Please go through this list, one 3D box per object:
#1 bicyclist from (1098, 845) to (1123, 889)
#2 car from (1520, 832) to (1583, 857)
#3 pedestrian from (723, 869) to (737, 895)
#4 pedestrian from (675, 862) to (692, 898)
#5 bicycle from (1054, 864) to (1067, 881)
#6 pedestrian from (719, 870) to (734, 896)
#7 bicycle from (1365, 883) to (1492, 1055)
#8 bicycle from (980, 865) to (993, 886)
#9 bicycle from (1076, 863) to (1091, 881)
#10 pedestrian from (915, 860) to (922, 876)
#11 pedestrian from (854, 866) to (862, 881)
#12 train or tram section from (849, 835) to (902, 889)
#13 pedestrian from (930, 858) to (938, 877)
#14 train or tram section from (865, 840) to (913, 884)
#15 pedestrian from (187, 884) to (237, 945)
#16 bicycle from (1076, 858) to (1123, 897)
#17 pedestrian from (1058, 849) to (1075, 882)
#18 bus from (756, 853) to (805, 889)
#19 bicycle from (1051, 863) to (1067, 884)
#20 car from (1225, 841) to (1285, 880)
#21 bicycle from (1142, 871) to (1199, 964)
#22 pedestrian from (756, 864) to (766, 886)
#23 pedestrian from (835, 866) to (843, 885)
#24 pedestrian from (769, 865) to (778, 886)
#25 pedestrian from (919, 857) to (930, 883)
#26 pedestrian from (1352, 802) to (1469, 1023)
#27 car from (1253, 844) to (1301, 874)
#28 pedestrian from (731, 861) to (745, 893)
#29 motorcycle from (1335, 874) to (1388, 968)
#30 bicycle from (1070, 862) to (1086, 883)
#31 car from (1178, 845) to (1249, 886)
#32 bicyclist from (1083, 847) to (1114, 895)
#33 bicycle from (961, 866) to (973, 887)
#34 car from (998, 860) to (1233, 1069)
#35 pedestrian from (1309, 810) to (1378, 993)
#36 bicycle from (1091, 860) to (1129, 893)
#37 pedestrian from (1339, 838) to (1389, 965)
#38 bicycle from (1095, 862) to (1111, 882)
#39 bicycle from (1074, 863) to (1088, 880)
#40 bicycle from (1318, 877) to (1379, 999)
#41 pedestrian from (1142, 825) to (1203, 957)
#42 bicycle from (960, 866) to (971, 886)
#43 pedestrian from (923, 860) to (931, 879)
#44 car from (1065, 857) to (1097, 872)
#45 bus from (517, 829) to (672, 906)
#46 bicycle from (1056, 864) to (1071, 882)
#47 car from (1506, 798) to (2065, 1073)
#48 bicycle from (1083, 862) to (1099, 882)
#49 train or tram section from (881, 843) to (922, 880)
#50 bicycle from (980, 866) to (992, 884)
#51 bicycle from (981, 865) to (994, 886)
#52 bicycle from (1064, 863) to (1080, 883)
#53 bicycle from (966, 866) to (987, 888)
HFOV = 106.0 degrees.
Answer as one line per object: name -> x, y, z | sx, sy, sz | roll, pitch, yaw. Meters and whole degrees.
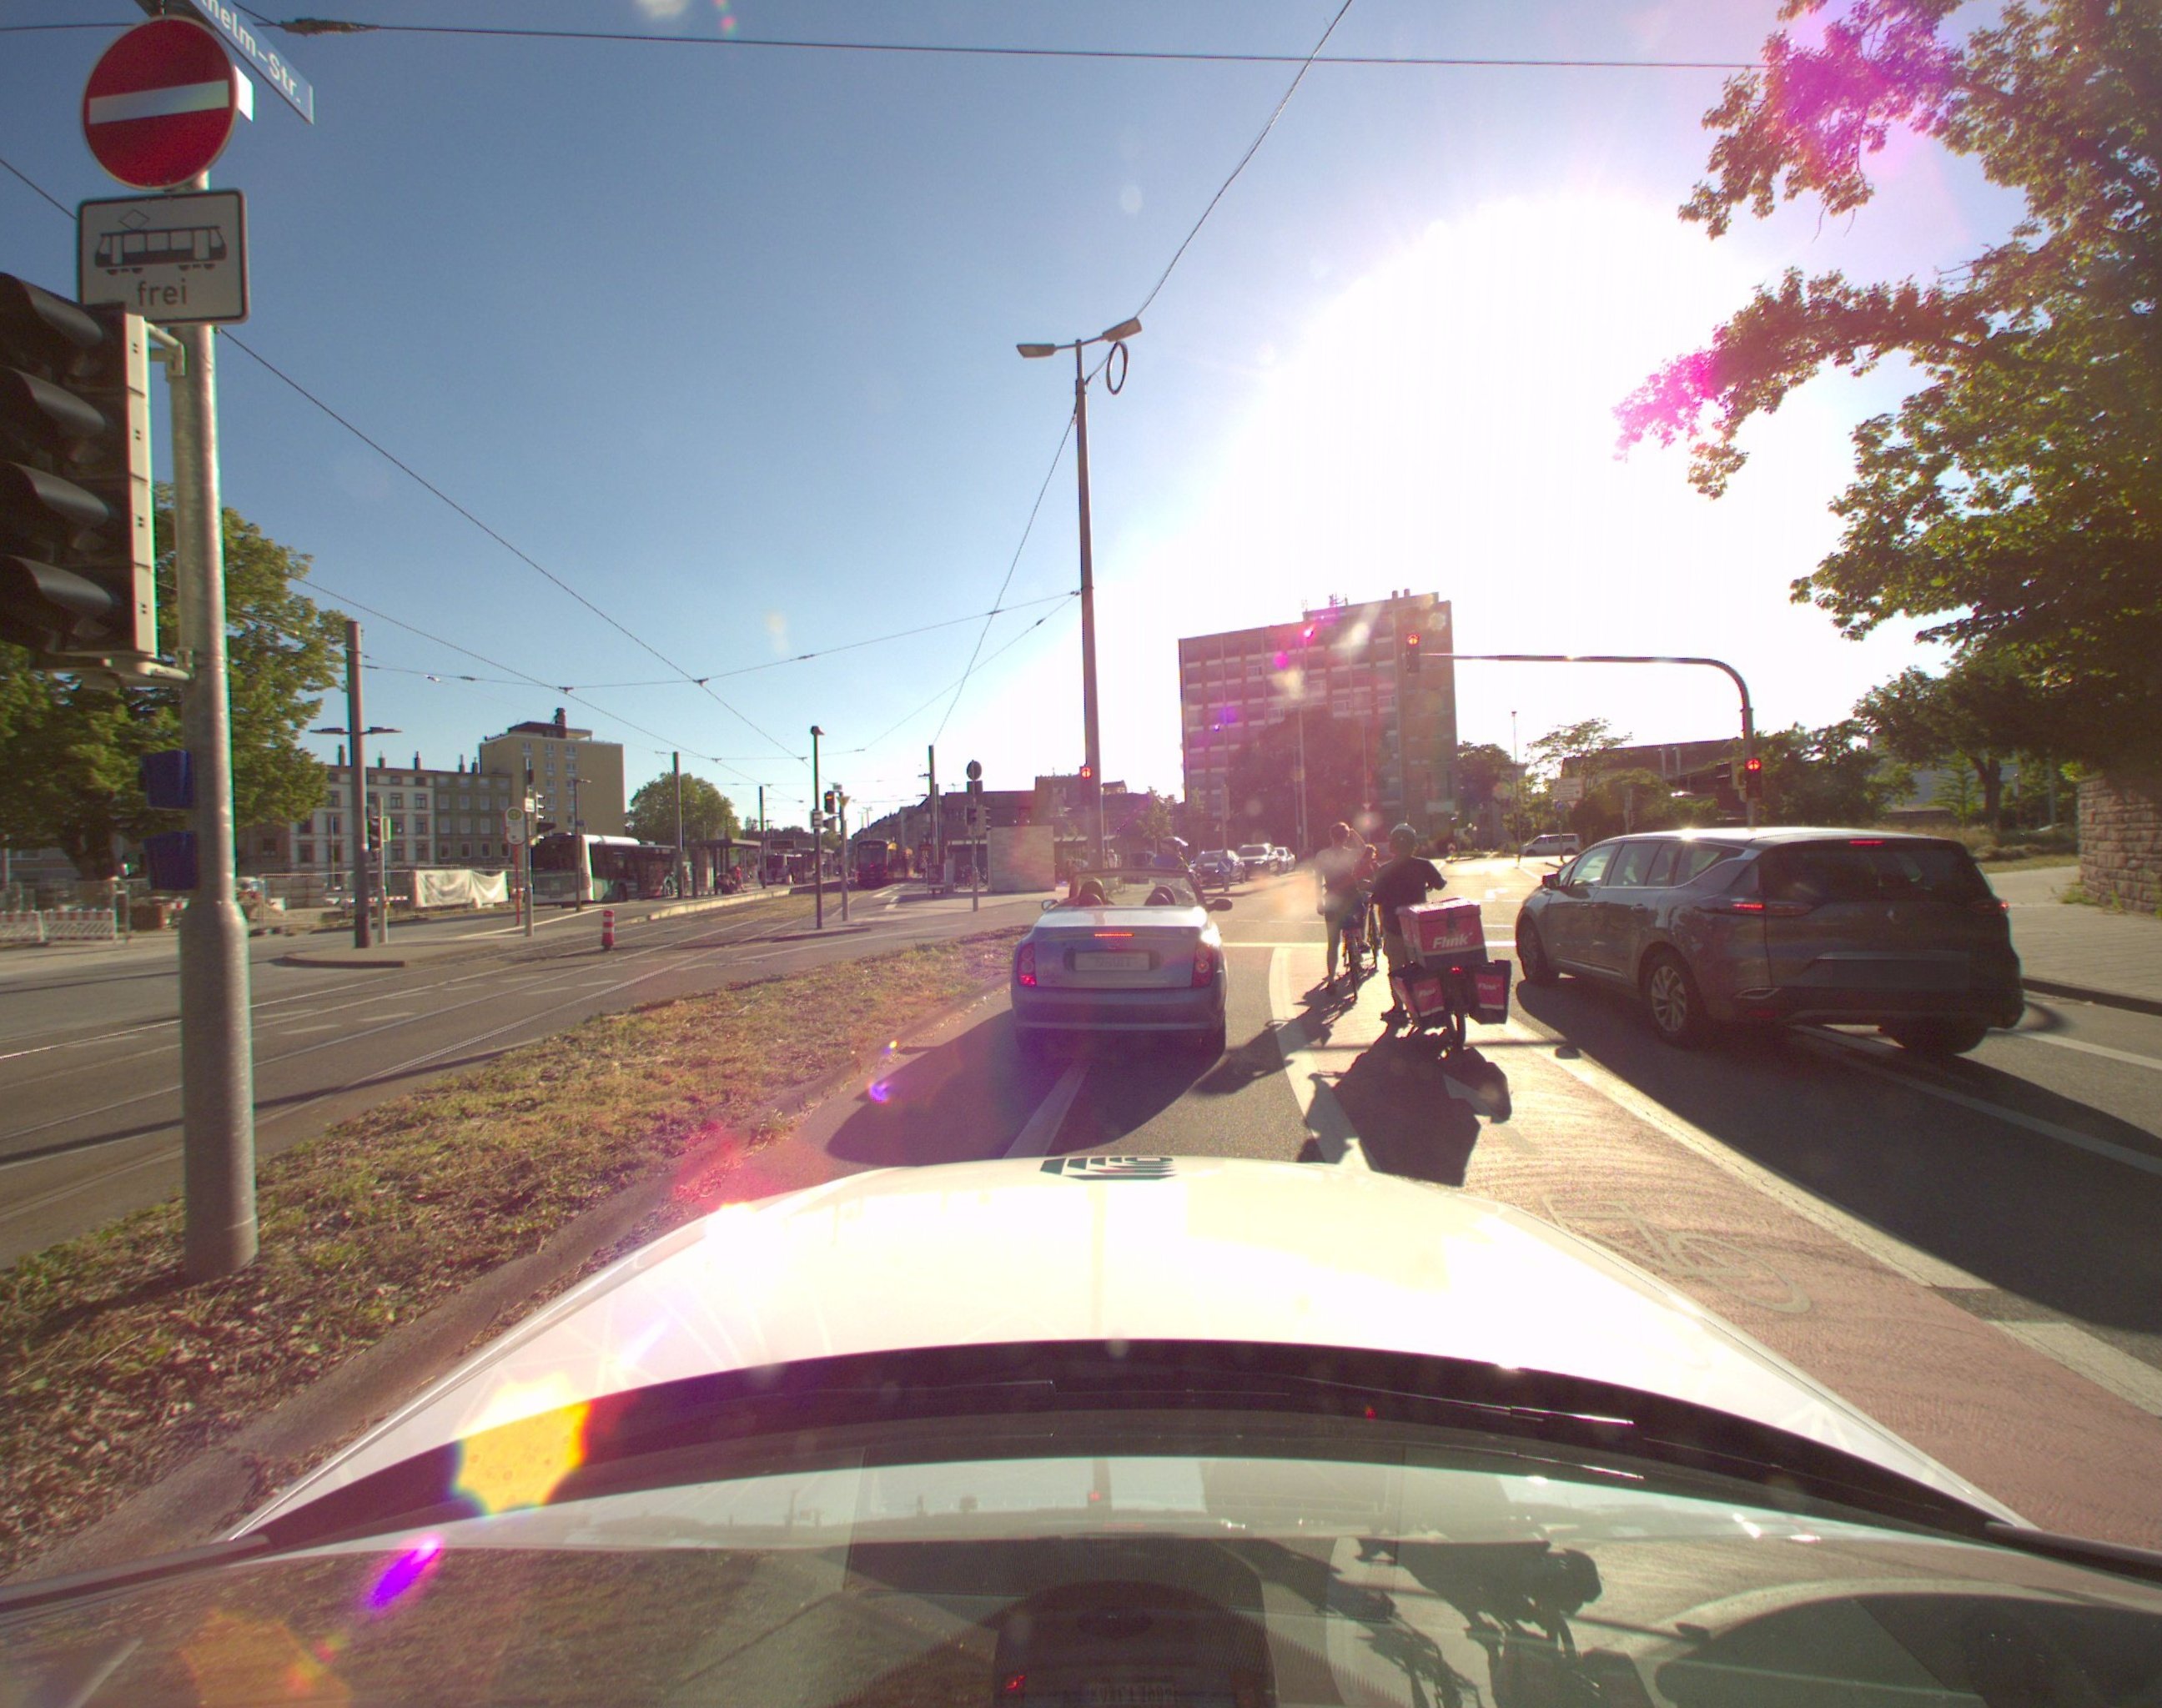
bicyclist -> 1.146, 0.489, 31.603 | 0.702, 1.657, 0.747 | -3, -1, 24
car -> 41.132, -0.838, 71.340 | 4.647, 1.945, 1.926 | -3, 0, 26
pedestrian -> -18.732, 1.474, 43.464 | 0.571, 1.346, 0.636 | -2, -1, -15
pedestrian -> -19.702, 1.273, 40.398 | 0.536, 1.749, 0.559 | -2, -1, -4
bicycle -> -1.347, 1.193, 53.216 | 0.607, 1.115, 1.890 | 0, -1, -10
pedestrian -> -18.603, 1.520, 42.778 | 0.617, 1.340, 0.438 | -2, -1, -15
bicycle -> 2.934, 0.872, 7.096 | 0.550, 1.171, 2.380 | -1, -1, 12
bicycle -> -5.178, 1.193, 44.667 | 0.607, 1.115, 1.890 | 0, -1, -10
bicycle -> 0.130, 1.137, 51.415 | 0.607, 1.115, 1.890 | 0, -1, -10
pedestrian -> -18.073, 1.530, 90.537 | 0.604, 1.749, 0.830 | -2, -1, -6
pedestrian -> -27.474, 2.427, 100.348 | 0.732, 1.749, 0.638 | -2, -1, -6
train or tram section -> -15.261, 0.581, 61.217 | 2.881, 3.597, 12.158 | 0, -1, -10
pedestrian -> -13.870, 1.255, 76.911 | 0.639, 1.749, 0.732 | -2, -1, -17
train or tram section -> -17.066, 0.704, 73.259 | 3.010, 3.597, 12.165 | 0, -1, -8
pedestrian -> -25.707, 1.783, 24.108 | 0.712, 1.697, 0.893 | -3, -2, -25
bicycle -> 0.675, 0.810, 28.971 | 0.668, 1.250, 2.471 | -5, -1, 24
pedestrian -> -0.845, 0.664, 46.950 | 0.901, 1.869, 0.684 | 0, -1, -11
bus -> -29.669, 1.587, 80.949 | 2.723, 3.274, 13.409 | 0, -1, -12
bicycle -> -1.254, 1.081, 45.297 | 0.607, 1.115, 1.890 | 0, -1, -10
car -> 8.546, 0.258, 39.677 | 1.745, 1.706, 4.557 | -4, -1, 26
bicycle -> 1.357, 0.865, 11.989 | 0.604, 1.191, 2.422 | -1, -1, 12
pedestrian -> -25.930, 1.675, 65.948 | 0.641, 1.749, 0.567 | -2, -1, -25
pedestrian -> -23.617, 2.098, 79.590 | 0.641, 1.749, 0.567 | -2, -1, -25
pedestrian -> -25.425, 1.775, 67.299 | 0.571, 1.749, 0.636 | -2, -1, -17
pedestrian -> -10.819, 1.117, 56.215 | 0.639, 1.749, 0.569 | -2, -1, -17
pedestrian -> 2.977, 0.502, 7.449 | 0.801, 1.869, 0.959 | -1, -1, 10
car -> 11.166, 0.250, 46.218 | 1.678, 1.560, 4.004 | -3, 0, 28
pedestrian -> -19.111, 1.275, 45.341 | 0.571, 1.749, 0.636 | -2, -1, -15
motorcycle -> 3.827, 0.844, 11.106 | 0.608, 1.097, 2.371 | -1, -1, 19
bicycle -> -0.179, 1.014, 45.413 | 0.607, 1.115, 1.890 | 0, -1, -10
car -> 5.547, 0.468, 33.644 | 1.720, 1.574, 3.948 | -1, -1, 28
bicyclist -> 0.627, 0.595, 28.905 | 0.702, 1.657, 0.906 | -5, -2, 24
bicycle -> -6.213, 1.231, 44.361 | 0.607, 1.115, 1.890 | 0, -1, -10
car -> 0.548, 0.782, 7.798 | 1.650, 1.441, 4.164 | -1, -1, 9
pedestrian -> 2.836, 0.489, 8.840 | 0.654, 1.869, 0.876 | -1, -1, 17
bicycle -> 1.154, 0.846, 31.574 | 0.668, 1.180, 2.195 | -3, 0, 24
pedestrian -> 3.770, 0.605, 10.847 | 0.583, 1.598, 1.030 | -1, -1, 19
bicycle -> 1.238, 1.006, 45.681 | 0.606, 1.115, 1.892 | 0, -1, -7
bicycle -> -0.031, 1.131, 53.392 | 0.607, 1.115, 1.890 | 0, -1, -10
bicycle -> 2.933, 0.858, 9.023 | 0.559, 1.151, 1.958 | -1, -1, 17
pedestrian -> 1.369, 0.526, 12.059 | 0.828, 1.869, 0.923 | -1, -1, 10
bicycle -> -6.560, 1.250, 46.295 | 0.606, 1.115, 1.891 | 0, -1, -8
pedestrian -> -14.443, 1.454, 76.378 | 0.639, 1.749, 0.732 | -2, -1, -17
car -> -0.031, 1.176, 88.865 | 1.653, 1.560, 3.559 | -2, 0, -37
bus -> -22.371, 0.573, 38.224 | 2.652, 3.135, 9.617 | 0, -1, -8
bicycle -> -1.104, 1.162, 51.242 | 0.607, 1.115, 1.890 | 0, -1, -10
car -> 5.540, 0.522, 7.322 | 1.820, 1.689, 4.381 | -1, -1, 10
bicycle -> 0.557, 1.054, 47.716 | 0.607, 1.115, 1.890 | 0, -1, -10
train or tram section -> -18.601, 0.812, 85.230 | 3.037, 3.597, 12.021 | 0, 0, -7
bicycle -> -5.902, 1.286, 50.626 | 0.607, 1.115, 1.890 | 0, -1, -10
bicycle -> -5.374, 1.224, 46.736 | 0.607, 1.115, 1.890 | 0, -1, -10
bicycle -> -0.542, 1.092, 47.354 | 0.607, 1.115, 1.890 | 0, -1, -10
bicycle -> -5.467, 1.203, 42.737 | 0.603, 1.115, 1.901 | -1, -1, 8
